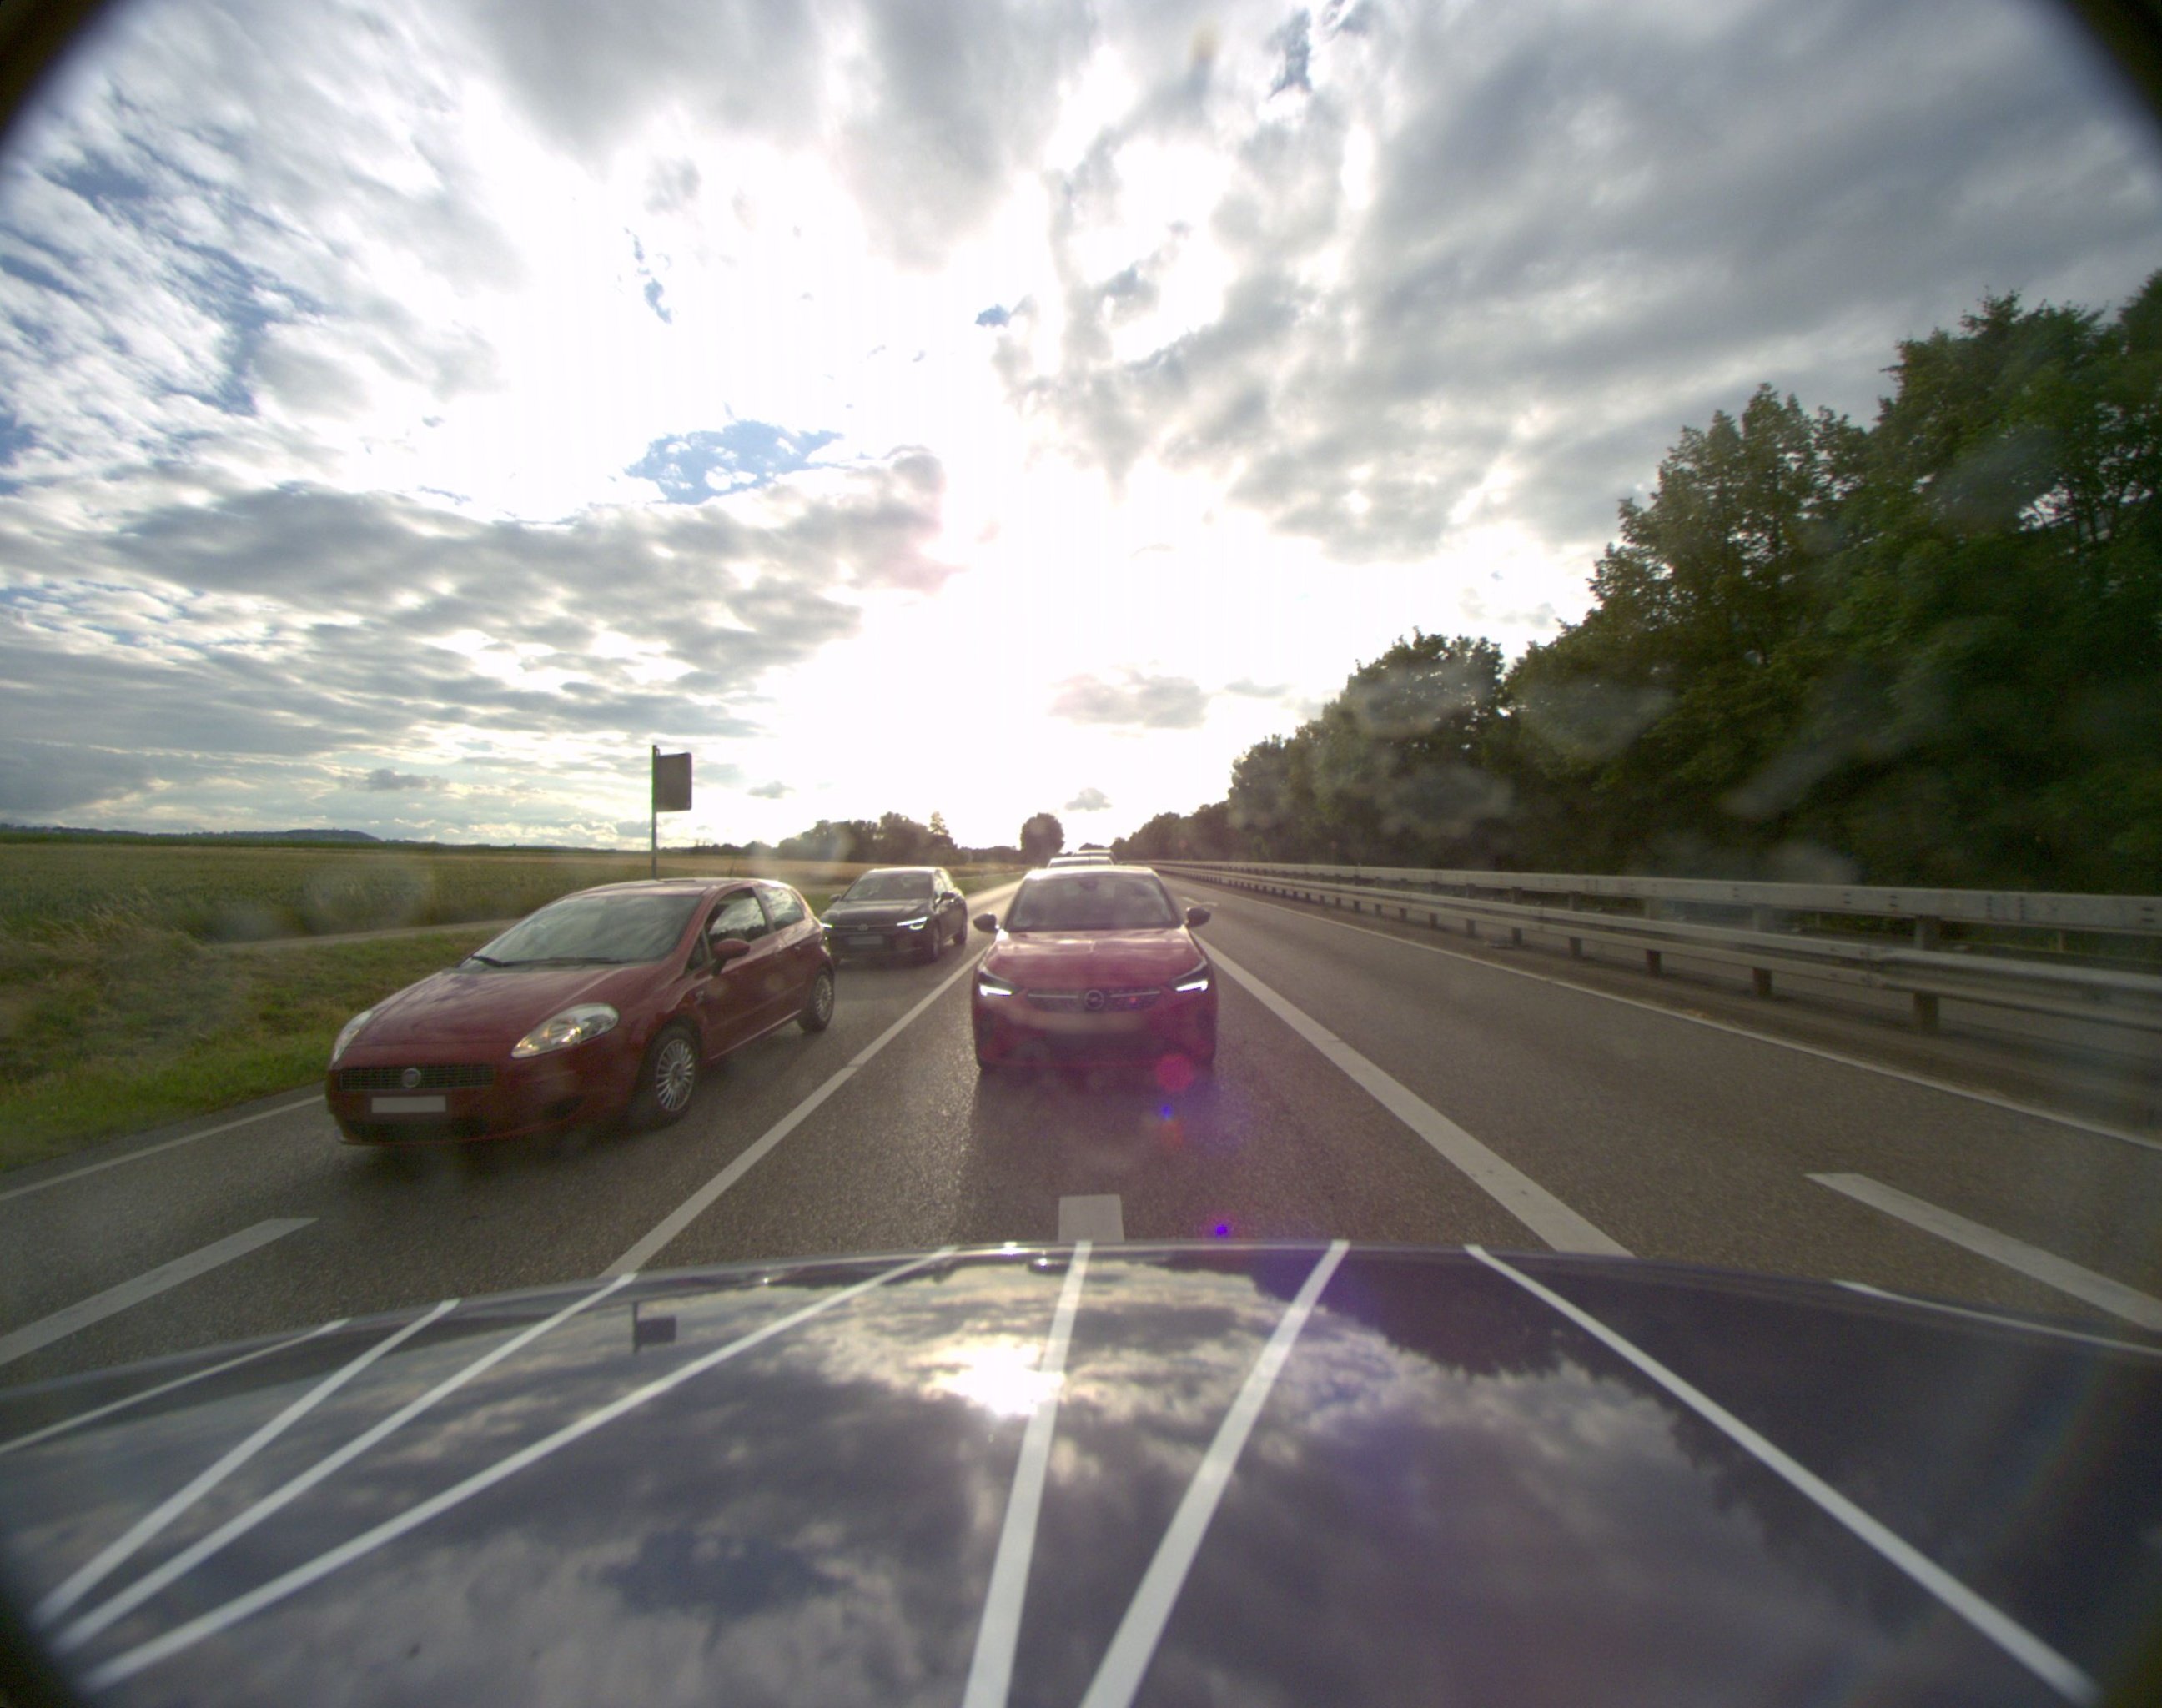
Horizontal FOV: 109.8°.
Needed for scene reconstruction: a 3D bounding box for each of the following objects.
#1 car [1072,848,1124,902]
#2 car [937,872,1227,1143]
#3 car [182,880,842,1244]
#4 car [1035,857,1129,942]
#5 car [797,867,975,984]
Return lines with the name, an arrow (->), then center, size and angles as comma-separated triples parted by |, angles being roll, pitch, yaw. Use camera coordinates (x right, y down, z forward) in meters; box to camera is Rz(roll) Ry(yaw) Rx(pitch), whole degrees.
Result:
car -> 0.597, 0.671, 27.152 | 1.671, 1.730, 4.032 | -2, 1, 1
car -> 0.036, 0.987, 6.667 | 1.712, 1.448, 4.061 | -2, 1, 1
car -> -3.254, 1.040, 5.484 | 1.712, 1.448, 3.908 | -2, 1, 1
car -> 0.052, 0.866, 16.328 | 1.712, 1.448, 4.061 | -2, 1, 1
car -> -2.994, 1.033, 12.592 | 1.799, 1.448, 4.032 | -2, 1, 1
